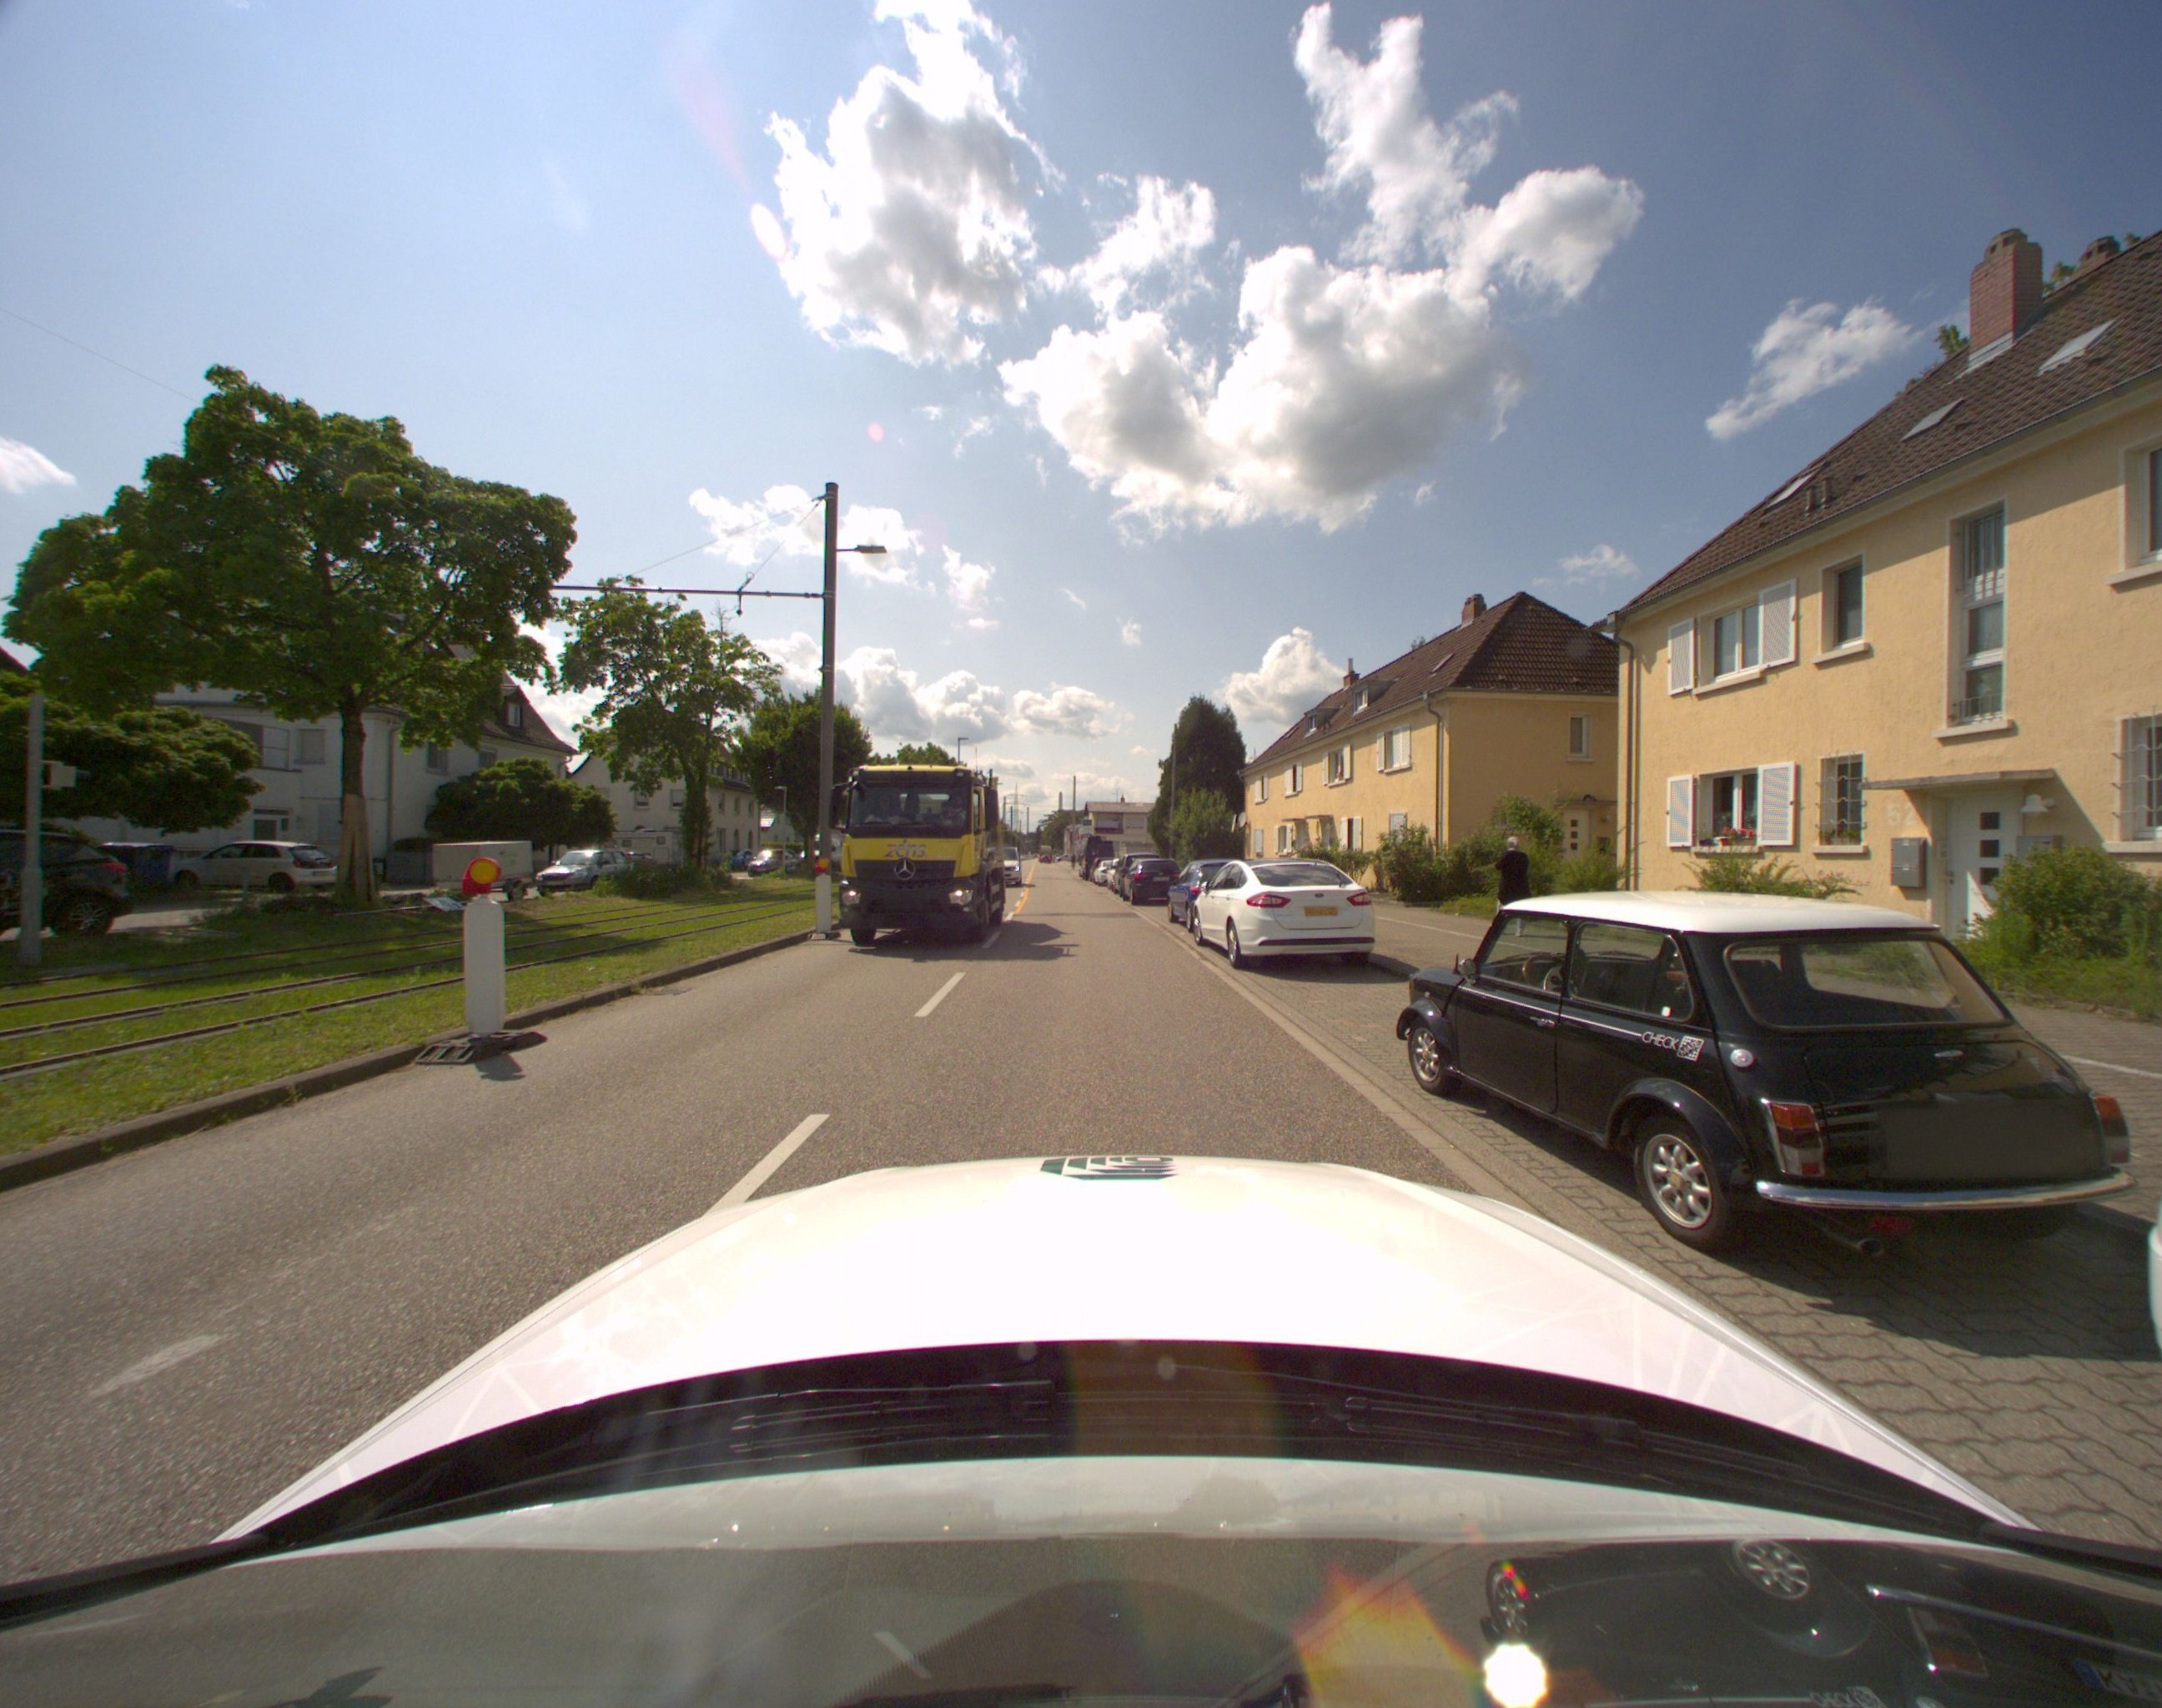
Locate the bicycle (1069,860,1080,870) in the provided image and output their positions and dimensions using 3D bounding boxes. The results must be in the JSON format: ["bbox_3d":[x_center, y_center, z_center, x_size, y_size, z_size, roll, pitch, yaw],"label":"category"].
[{"bbox_3d":[-0.681,1.166,88.676,0.993,1.049,2.807,0,0,-5],"label":"bicycle"}]

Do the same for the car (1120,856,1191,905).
[{"bbox_3d":[2.345,0.789,26.513,1.759,1.417,3.996,-2,0,-2],"label":"car"}]

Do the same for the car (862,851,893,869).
[{"bbox_3d":[-18.100,0.557,72.648,1.874,1.553,4.373,0,0,-3],"label":"car"}]

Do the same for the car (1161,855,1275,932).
[{"bbox_3d":[2.842,0.769,17.702,1.617,1.417,3.996,-2,0,-2],"label":"car"}]

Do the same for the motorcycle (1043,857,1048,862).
[{"bbox_3d":[-6.178,0.930,141.982,0.882,0.924,2.613,0,0,-3],"label":"motorcycle"}]

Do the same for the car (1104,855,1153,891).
[{"bbox_3d":[2.070,0.793,36.542,1.759,1.477,3.996,-2,0,-2],"label":"car"}]

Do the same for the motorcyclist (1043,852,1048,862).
[{"bbox_3d":[-6.165,0.550,141.723,0.882,1.667,1.108,0,0,-4],"label":"motorcyclist"}]

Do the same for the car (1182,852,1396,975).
[{"bbox_3d":[2.872,0.753,12.437,1.795,1.458,4.760,-2,-1,-3],"label":"car"}]

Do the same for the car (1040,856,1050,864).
[{"bbox_3d":[-6.522,1.070,147.014,1.565,1.498,4.142,0,0,-4],"label":"car"}]

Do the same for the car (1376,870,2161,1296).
[{"bbox_3d":[2.889,0.770,4.305,1.338,1.340,3.284,0,-1,-3],"label":"car"}]

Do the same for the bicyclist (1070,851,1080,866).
[{"bbox_3d":[-0.683,0.476,88.732,0.993,1.569,1.137,0,0,-6],"label":"bicyclist"}]

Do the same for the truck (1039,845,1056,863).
[{"bbox_3d":[-6.806,0.053,164.041,3.215,3.402,11.336,0,0,-4],"label":"truck"}]

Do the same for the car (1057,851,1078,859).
[{"bbox_3d":[-3.147,0.303,184.570,4.638,1.823,1.831,0,0,-8],"label":"car"}]

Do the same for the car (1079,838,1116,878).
[{"bbox_3d":[1.031,0.226,54.083,1.955,2.478,6.052,-2,0,-3],"label":"car"}]

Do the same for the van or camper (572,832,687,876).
[{"bbox_3d":[-32.572,-0.022,58.894,6.866,3.126,2.440,0,0,-4],"label":"van or camper"}]

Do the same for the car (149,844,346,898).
[{"bbox_3d":[-25.448,0.496,24.982,3.981,1.571,1.791,0,0,-5],"label":"car"}]

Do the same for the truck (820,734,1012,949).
[{"bbox_3d":[-2.999,-0.223,16.921,2.552,3.459,7.146,-2,0,-1],"label":"truck"}]

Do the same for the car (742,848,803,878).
[{"bbox_3d":[-17.176,0.475,45.530,1.724,1.505,4.565,-2,0,-1],"label":"car"}]

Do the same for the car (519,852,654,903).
[{"bbox_3d":[-16.184,0.698,26.965,1.724,1.505,4.565,-2,0,-1],"label":"car"}]

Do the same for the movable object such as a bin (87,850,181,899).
[{"bbox_3d":[-26.683,0.558,22.971,1.355,1.329,1.088,0,0,-1],"label":"movable object such as a bin"}]

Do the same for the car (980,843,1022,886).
[{"bbox_3d":[-3.993,0.502,41.449,1.925,1.958,5.368,-2,0,-4],"label":"car"}]

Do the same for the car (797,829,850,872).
[{"bbox_3d":[-17.663,-0.228,56.190,2.071,2.721,6.987,-2,0,-6],"label":"car"}]

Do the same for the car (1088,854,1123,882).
[{"bbox_3d":[1.411,0.808,47.999,1.759,1.502,3.996,-2,0,-2],"label":"car"}]

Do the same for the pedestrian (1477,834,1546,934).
[{"bbox_3d":[7.372,0.501,13.975,0.850,1.652,0.637,1,0,2],"label":"pedestrian"}]

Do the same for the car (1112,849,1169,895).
[{"bbox_3d":[2.253,0.663,31.711,1.759,1.643,3.996,-2,0,-2],"label":"car"}]

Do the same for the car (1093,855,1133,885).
[{"bbox_3d":[1.632,0.825,42.828,1.759,1.439,3.996,-2,0,-2],"label":"car"}]

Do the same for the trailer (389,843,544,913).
[{"bbox_3d":[-15.876,0.569,21.252,1.561,1.678,3.369,0,0,-2],"label":"trailer"}]

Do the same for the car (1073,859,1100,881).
[{"bbox_3d":[0.395,1.173,61.535,1.760,1.502,3.995,-2,0,-3],"label":"car"}]

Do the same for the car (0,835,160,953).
[{"bbox_3d":[-15.879,0.578,10.988,1.690,1.637,4.566,-2,0,0],"label":"car"}]
